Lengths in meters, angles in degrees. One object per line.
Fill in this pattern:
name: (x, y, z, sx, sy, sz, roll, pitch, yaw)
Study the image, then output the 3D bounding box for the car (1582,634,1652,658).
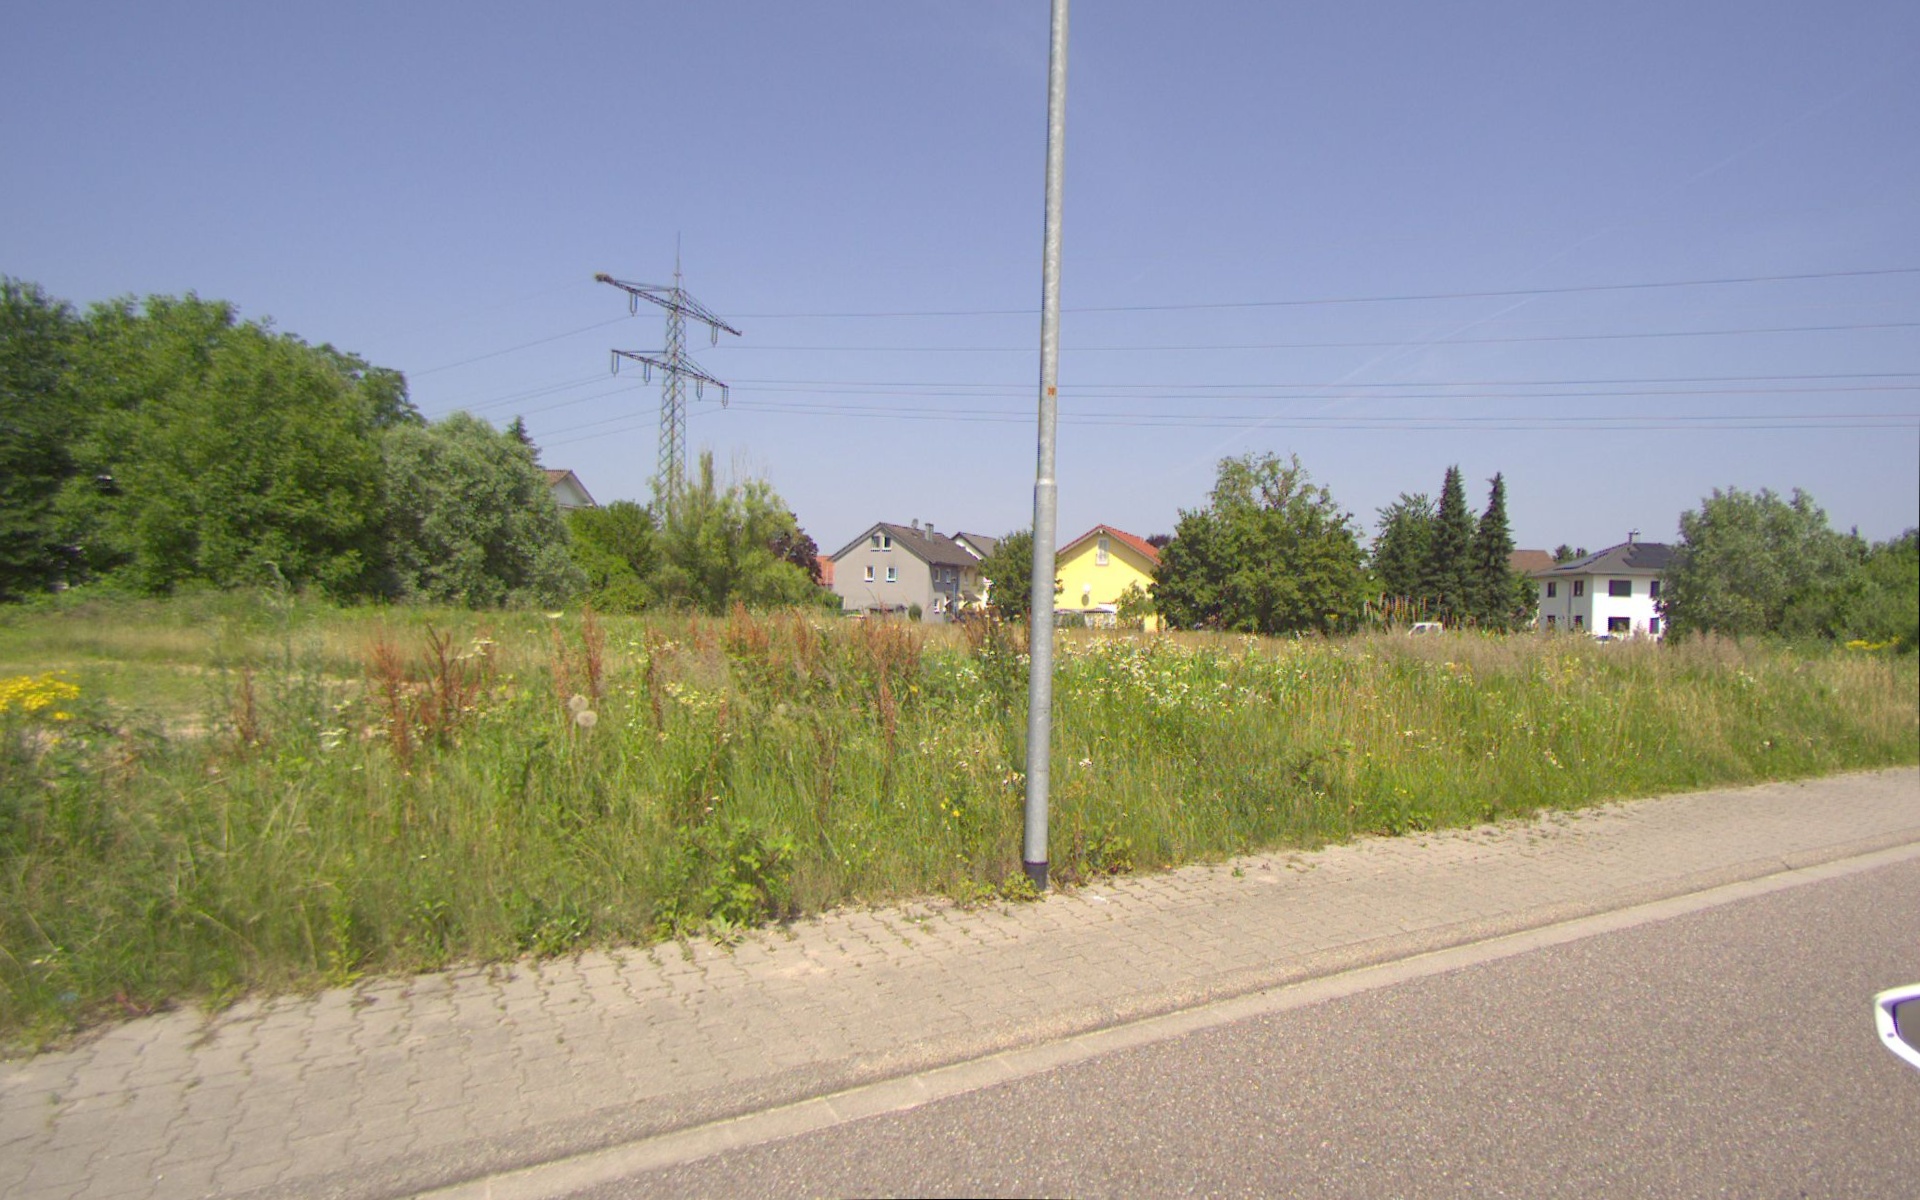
car: (51.215, 3.562, 78.368, 4.171, 1.717, 2.000, 1, 0, 18)

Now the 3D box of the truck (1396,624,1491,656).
truck: (34.948, 2.891, 72.746, 5.771, 2.037, 2.122, 2, 0, 11)
